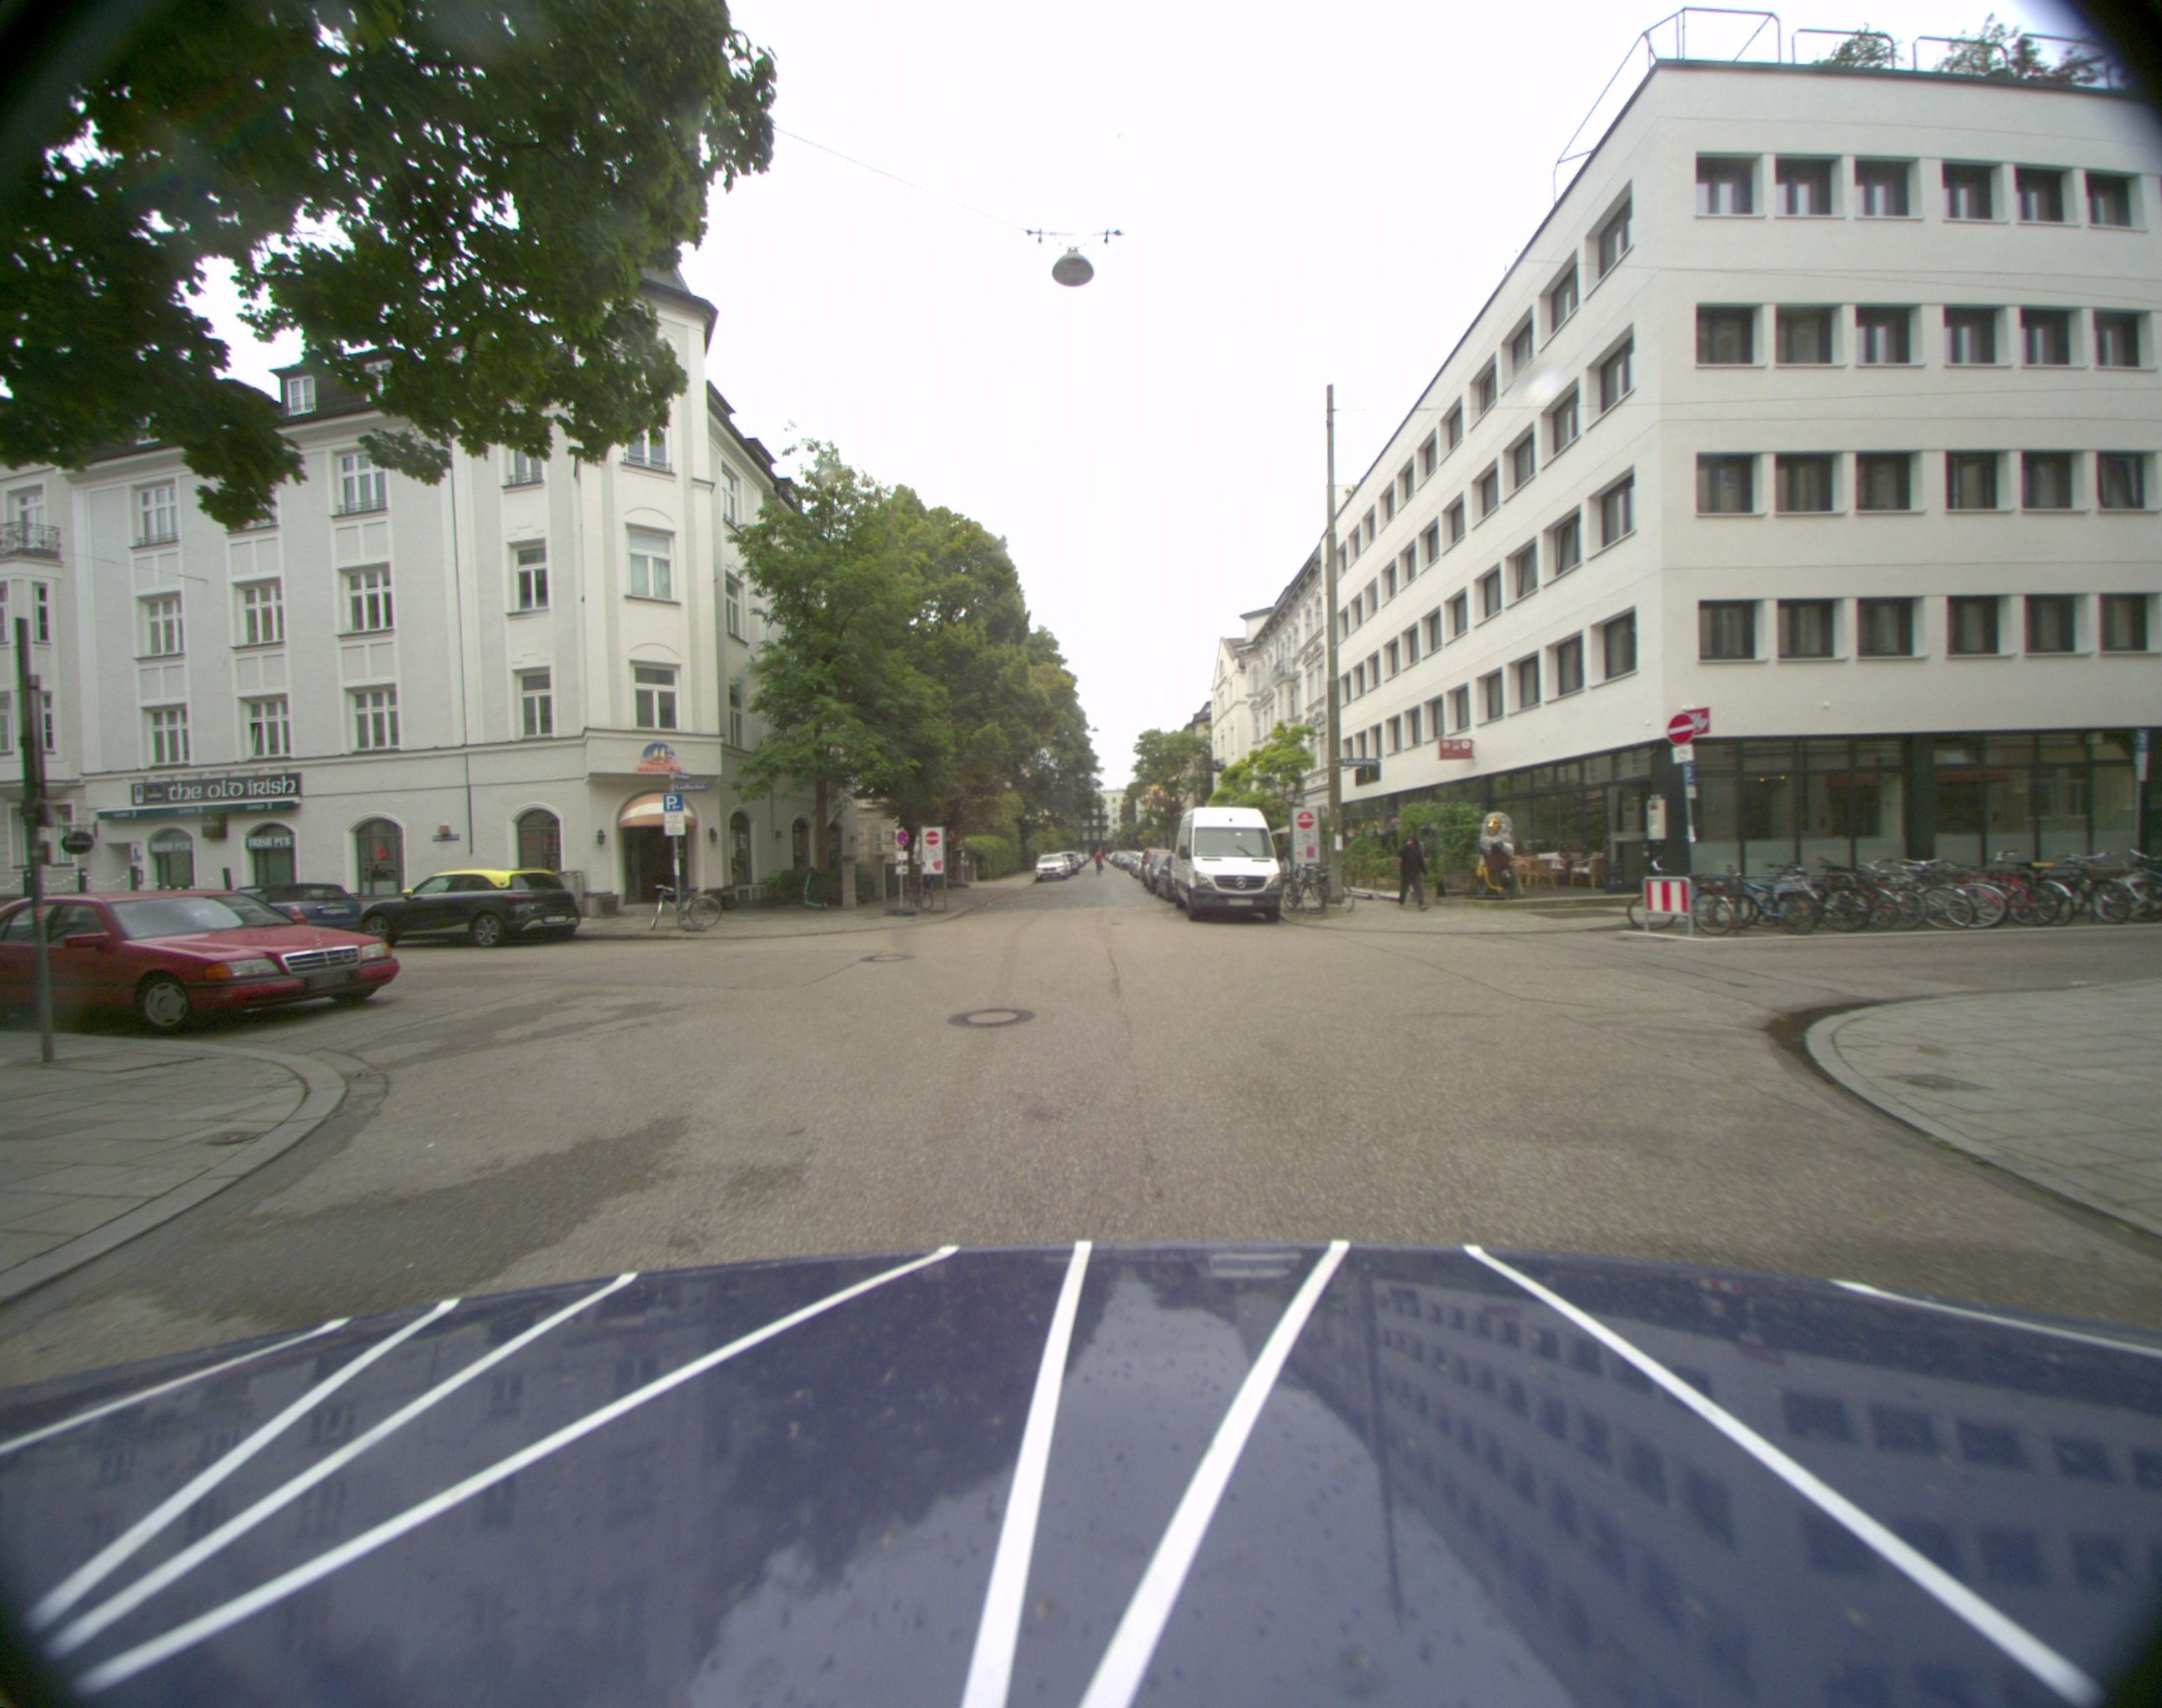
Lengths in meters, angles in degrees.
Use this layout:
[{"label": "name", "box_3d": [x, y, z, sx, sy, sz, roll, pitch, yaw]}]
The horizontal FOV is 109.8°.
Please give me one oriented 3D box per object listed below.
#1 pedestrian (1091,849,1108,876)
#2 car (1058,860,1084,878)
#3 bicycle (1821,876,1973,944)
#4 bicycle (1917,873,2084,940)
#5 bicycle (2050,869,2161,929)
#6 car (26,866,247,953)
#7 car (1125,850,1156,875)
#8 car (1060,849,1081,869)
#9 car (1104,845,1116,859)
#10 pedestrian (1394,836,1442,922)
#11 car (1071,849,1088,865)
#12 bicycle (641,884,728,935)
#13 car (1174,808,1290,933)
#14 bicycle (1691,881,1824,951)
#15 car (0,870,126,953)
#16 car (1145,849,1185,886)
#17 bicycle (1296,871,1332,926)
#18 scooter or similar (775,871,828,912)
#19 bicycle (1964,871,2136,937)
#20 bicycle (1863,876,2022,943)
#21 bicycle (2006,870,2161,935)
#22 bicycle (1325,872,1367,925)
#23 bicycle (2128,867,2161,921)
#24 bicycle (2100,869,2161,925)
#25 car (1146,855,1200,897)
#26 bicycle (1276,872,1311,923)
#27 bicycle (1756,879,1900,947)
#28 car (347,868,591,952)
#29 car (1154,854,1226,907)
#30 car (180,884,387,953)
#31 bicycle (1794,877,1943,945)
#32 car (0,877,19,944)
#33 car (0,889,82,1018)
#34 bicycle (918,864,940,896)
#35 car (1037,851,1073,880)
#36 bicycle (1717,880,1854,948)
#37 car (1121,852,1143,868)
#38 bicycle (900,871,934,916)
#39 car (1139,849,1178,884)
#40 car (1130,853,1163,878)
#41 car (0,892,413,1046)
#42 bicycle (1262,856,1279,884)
[{"label": "pedestrian", "box_3d": [1.277, 0.577, 52.827, 1.105, 1.768, 1.263, -2, 1, 2]}, {"label": "car", "box_3d": [-0.814, 1.146, 59.570, 1.924, 1.290, 4.808, 0, 0, -2]}, {"label": "bicycle", "box_3d": [13.497, 0.896, 12.654, 0.398, 0.963, 1.893, -2, 1, -4]}, {"label": "bicycle", "box_3d": [15.351, 0.843, 12.769, 0.398, 0.963, 1.893, -2, 1, -4]}, {"label": "bicycle", "box_3d": [18.088, 0.761, 13.038, 0.398, 0.963, 1.893, -2, 1, -4]}, {"label": "car", "box_3d": [-23.189, 1.342, 18.704, 3.925, 1.958, 1.776, -2, 1, 13]}, {"label": "car", "box_3d": [3.971, 0.539, 51.044, 1.694, 1.563, 4.067, -2, 1, 0]}, {"label": "car", "box_3d": [-0.957, 0.489, 72.912, 1.818, 1.809, 4.808, -1, 1, 1]}, {"label": "car", "box_3d": [4.443, -0.295, 117.985, 1.762, 2.002, 4.000, -2, 1, 2]}, {"label": "pedestrian", "box_3d": [7.400, 0.534, 16.714, 0.615, 1.830, 0.813, -2, 1, -5]}, {"label": "car", "box_3d": [-0.204, 0.426, 100.198, 1.998, 2.002, 4.000, -2, 1, 2]}, {"label": "bicycle", "box_3d": [-9.159, 1.278, 17.581, 1.604, 1.063, 0.739, 0, 4, 4]}, {"label": "car", "box_3d": [3.453, 0.306, 18.574, 1.981, 2.559, 5.795, 0, 1, 3]}, {"label": "bicycle", "box_3d": [11.091, 0.982, 12.547, 0.398, 0.963, 1.893, -2, 1, -4]}, {"label": "car", "box_3d": [-27.117, 1.452, 19.520, 3.654, 1.924, 1.732, -2, 1, 13]}, {"label": "car", "box_3d": [3.798, 0.571, 34.613, 1.696, 1.495, 3.778, -2, 1, 5]}, {"label": "bicycle", "box_3d": [5.331, 0.985, 17.437, 0.256, 1.120, 1.807, -2, 1, 1]}, {"label": "scooter or similar", "box_3d": [-8.244, 1.086, 22.404, 1.604, 1.166, 0.405, 0, 2, 25]}, {"label": "bicycle", "box_3d": [16.322, 0.809, 12.876, 0.398, 0.963, 1.893, -2, 1, -4]}, {"label": "bicycle", "box_3d": [14.279, 0.882, 12.672, 0.398, 0.963, 1.893, -2, 1, -4]}, {"label": "bicycle", "box_3d": [17.191, 0.786, 12.974, 0.398, 0.963, 1.893, -2, 1, -4]}, {"label": "bicycle", "box_3d": [6.052, 0.990, 17.418, 0.286, 1.085, 1.815, -2, 1, 0]}, {"label": "bicycle", "box_3d": [20.015, 0.739, 13.398, 0.398, 0.963, 1.893, -2, 1, -4]}, {"label": "bicycle", "box_3d": [19.350, 0.770, 13.299, 0.398, 0.963, 1.893, -2, 1, -4]}, {"label": "car", "box_3d": [3.487, 0.784, 29.475, 1.730, 1.456, 4.473, 1, 0, 2]}, {"label": "bicycle", "box_3d": [4.936, 0.984, 17.718, 0.286, 1.085, 1.815, -2, 0, 0]}, {"label": "bicycle", "box_3d": [12.279, 0.936, 12.580, 0.398, 0.963, 1.893, -2, 1, -4]}, {"label": "car", "box_3d": [-13.040, 1.177, 16.289, 4.081, 1.588, 1.907, -2, 1, 13]}, {"label": "car", "box_3d": [3.381, 0.768, 24.202, 1.666, 1.474, 3.981, -2, 1, -1]}, {"label": "car", "box_3d": [-18.452, 1.475, 17.640, 3.534, 1.417, 1.702, -2, 1, 13]}, {"label": "bicycle", "box_3d": [13.000, 0.897, 12.624, 0.398, 0.963, 1.893, -2, 1, -4]}, {"label": "car", "box_3d": [-31.353, 1.610, 20.386, 3.994, 1.802, 1.744, -2, 1, 11]}, {"label": "car", "box_3d": [-14.942, 1.266, 9.242, 3.894, 1.512, 1.566, -2, 1, 7]}, {"label": "bicycle", "box_3d": [-6.037, 1.023, 30.241, 0.428, 1.191, 1.730, 4, 1, 2]}, {"label": "car", "box_3d": [-1.605, 0.684, 48.143, 1.925, 1.676, 4.633, -1, 1, 2]}, {"label": "bicycle", "box_3d": [11.567, 0.949, 12.562, 0.398, 0.963, 1.893, -2, 1, -4]}, {"label": "car", "box_3d": [4.897, 0.537, 73.444, 1.886, 1.411, 4.809, -2, 0, 1]}, {"label": "bicycle", "box_3d": [-4.587, 1.089, 21.333, 0.389, 1.140, 1.590, -1, 1, 8]}, {"label": "car", "box_3d": [4.019, 0.624, 40.000, 1.722, 1.713, 3.898, 0, 1, 1]}, {"label": "car", "box_3d": [3.928, 0.682, 46.246, 1.635, 1.386, 3.815, -2, 1, 0]}, {"label": "car", "box_3d": [-10.122, 1.158, 8.295, 4.475, 1.350, 1.761, -1, 0, 9]}, {"label": "bicycle", "box_3d": [8.308, 0.691, 33.392, 0.361, 1.168, 1.911, -2, 1, 4]}]
